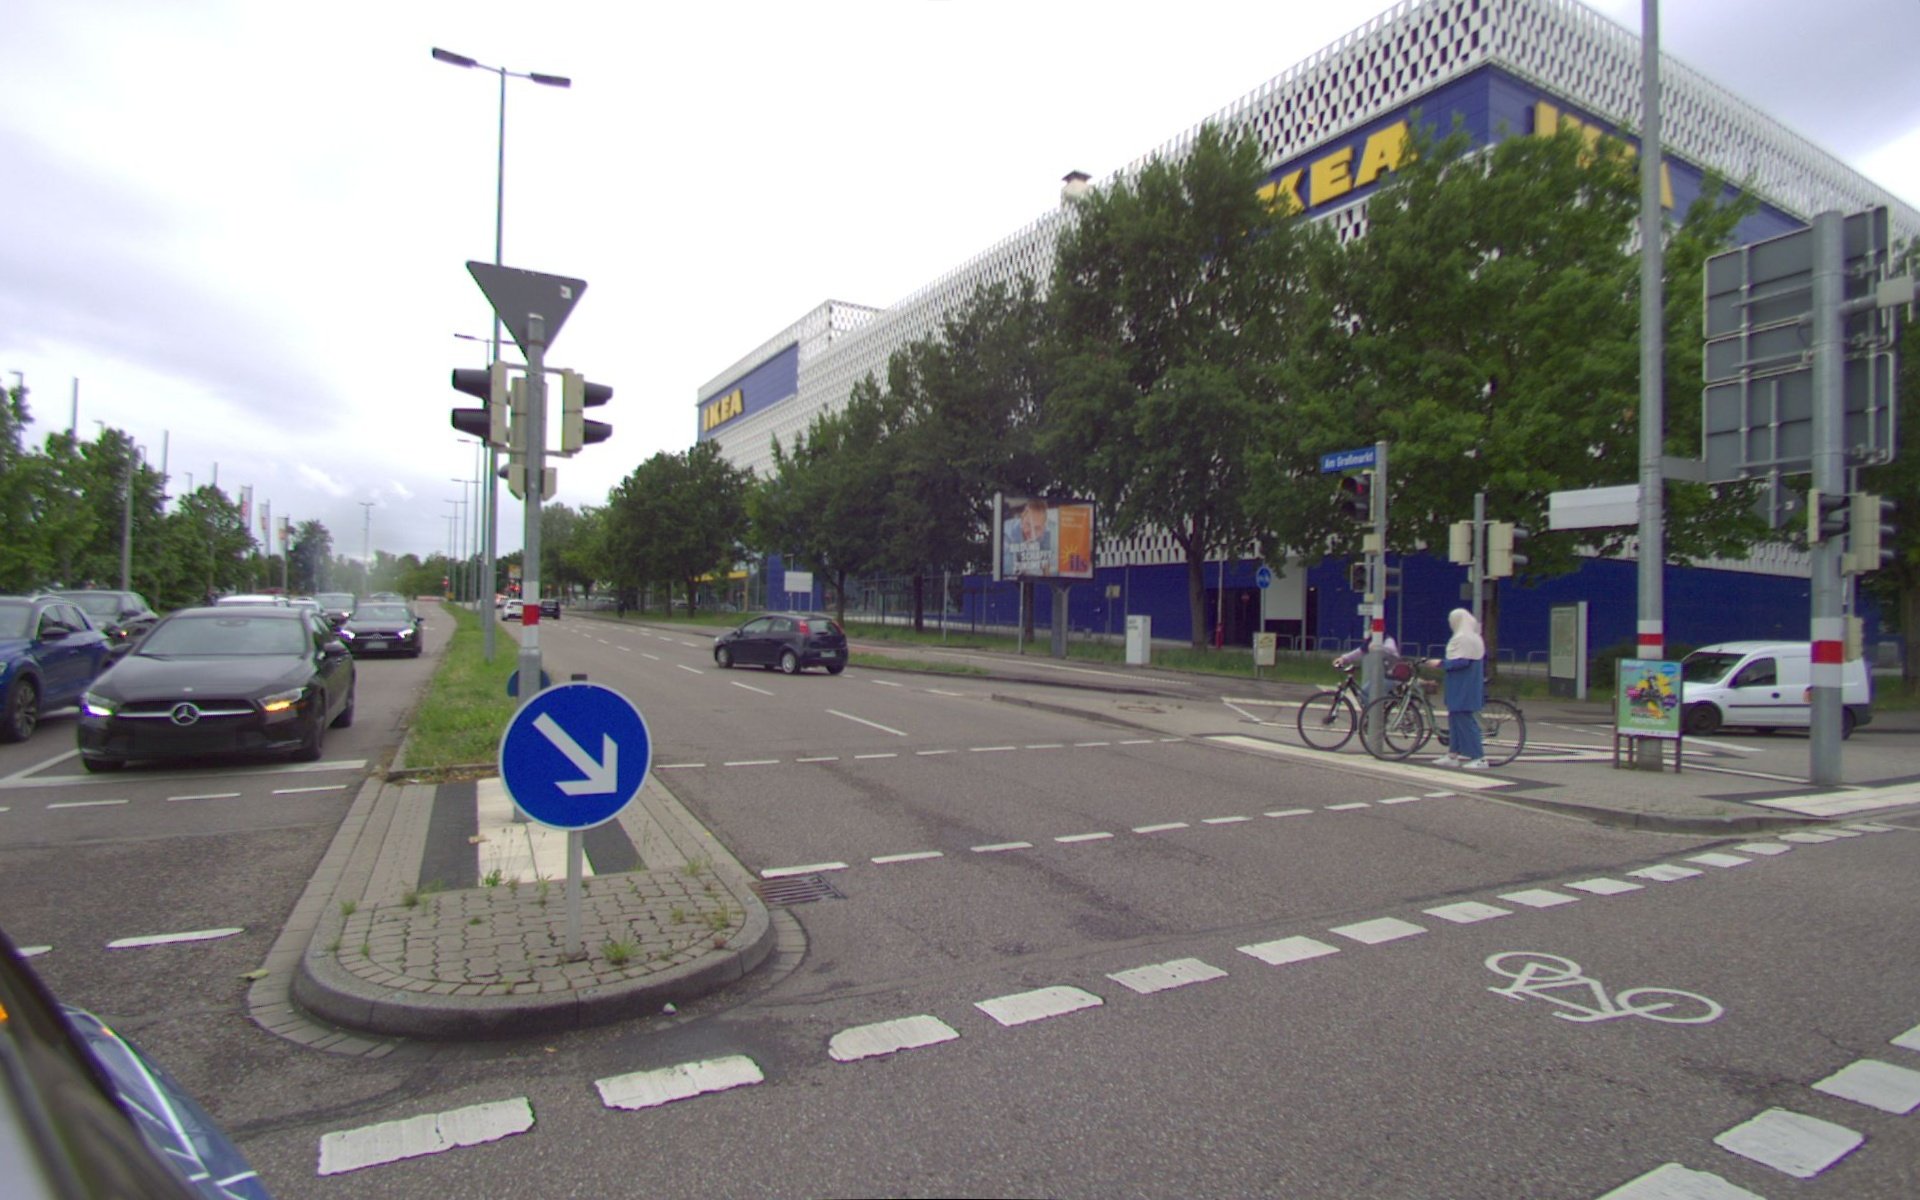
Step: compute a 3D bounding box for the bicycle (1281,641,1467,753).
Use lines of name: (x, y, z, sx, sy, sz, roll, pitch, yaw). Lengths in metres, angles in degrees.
bicycle: (4.797, 1.115, 11.787, 1.918, 1.174, 0.509, 2, 1, -3)

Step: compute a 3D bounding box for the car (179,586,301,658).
car: (-17.965, 0.482, 25.452, 1.769, 1.637, 4.389, 0, 0, -26)

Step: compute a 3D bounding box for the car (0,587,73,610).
car: (-63.370, -0.103, 69.097, 3.931, 1.577, 1.802, 0, 0, -26)

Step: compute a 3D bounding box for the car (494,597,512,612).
car: (-58.398, 0.567, 129.235, 1.816, 1.900, 3.937, 0, 0, -28)

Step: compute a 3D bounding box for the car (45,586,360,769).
car: (-7.367, 0.642, 10.326, 1.828, 1.445, 4.210, 0, -1, -26)

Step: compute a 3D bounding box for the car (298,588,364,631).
car: (-24.633, 0.327, 39.748, 1.771, 1.586, 4.233, 0, 0, -26)

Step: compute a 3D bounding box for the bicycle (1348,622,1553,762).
bicycle: (5.244, 0.973, 10.870, 1.905, 1.407, 0.597, 2, -3, -2)

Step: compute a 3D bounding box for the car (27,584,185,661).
car: (-19.827, 0.457, 23.715, 1.769, 1.637, 4.389, 0, 0, -26)

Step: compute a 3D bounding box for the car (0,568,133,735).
car: (-11.086, 0.487, 11.359, 1.816, 1.634, 4.346, 0, 0, -26)

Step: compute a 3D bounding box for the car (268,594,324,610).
car: (-61.765, 0.162, 94.229, 4.146, 1.426, 1.809, 0, 0, -27)

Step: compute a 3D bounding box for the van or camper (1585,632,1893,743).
van or camper: (14.313, 1.576, 18.729, 4.325, 1.735, 2.003, 3, -2, -8)

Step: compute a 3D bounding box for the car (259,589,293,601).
car: (-113.925, -0.845, 168.460, 4.595, 2.029, 2.005, 0, 0, -37)

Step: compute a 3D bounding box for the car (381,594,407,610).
car: (-49.933, 0.157, 89.330, 1.771, 1.426, 4.233, 0, 0, -26)

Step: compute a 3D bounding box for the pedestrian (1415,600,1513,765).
pedestrian: (5.232, 0.840, 10.539, 0.683, 1.639, 0.640, 2, -2, 5)

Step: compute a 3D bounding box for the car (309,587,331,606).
car: (-78.173, -0.377, 123.668, 1.966, 2.259, 4.012, 2, -2, -29)

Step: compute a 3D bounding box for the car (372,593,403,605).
car: (-98.641, -0.240, 174.493, 4.591, 2.029, 2.006, 0, 0, -29)

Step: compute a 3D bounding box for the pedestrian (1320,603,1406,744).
pedestrian: (4.665, 0.829, 11.747, 0.640, 1.560, 0.654, 2, 1, -3)

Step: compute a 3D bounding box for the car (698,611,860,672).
car: (-4.570, 1.017, 25.324, 3.993, 1.382, 1.705, 0, -3, 37)

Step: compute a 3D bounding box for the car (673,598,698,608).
car: (-49.116, 0.477, 181.274, 3.933, 1.829, 2.005, 0, 0, -34)

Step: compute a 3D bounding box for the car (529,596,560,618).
car: (-35.143, 0.572, 85.578, 1.816, 1.668, 4.375, 4, -2, -29)

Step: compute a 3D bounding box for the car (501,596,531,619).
car: (-30.318, 0.491, 69.110, 1.756, 1.463, 3.946, 3, -1, -23)

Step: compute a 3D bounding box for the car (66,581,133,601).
car: (-71.782, -0.747, 84.494, 3.931, 1.577, 1.802, 0, 0, -26)

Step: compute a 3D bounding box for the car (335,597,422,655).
car: (-15.271, 0.623, 26.748, 1.738, 1.389, 4.273, 0, 0, -26)

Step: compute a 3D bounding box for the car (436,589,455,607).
car: (-66.286, -0.212, 130.361, 1.966, 2.236, 4.012, 2, -2, -29)

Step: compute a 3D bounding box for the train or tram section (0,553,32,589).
train or tram section: (-140.368, -4.207, 135.874, 22.886, 4.875, 3.644, 1, 0, -30)

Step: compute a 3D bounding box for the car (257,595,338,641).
car: (-22.010, 0.552, 33.767, 1.771, 1.426, 4.233, 0, 0, -26)
